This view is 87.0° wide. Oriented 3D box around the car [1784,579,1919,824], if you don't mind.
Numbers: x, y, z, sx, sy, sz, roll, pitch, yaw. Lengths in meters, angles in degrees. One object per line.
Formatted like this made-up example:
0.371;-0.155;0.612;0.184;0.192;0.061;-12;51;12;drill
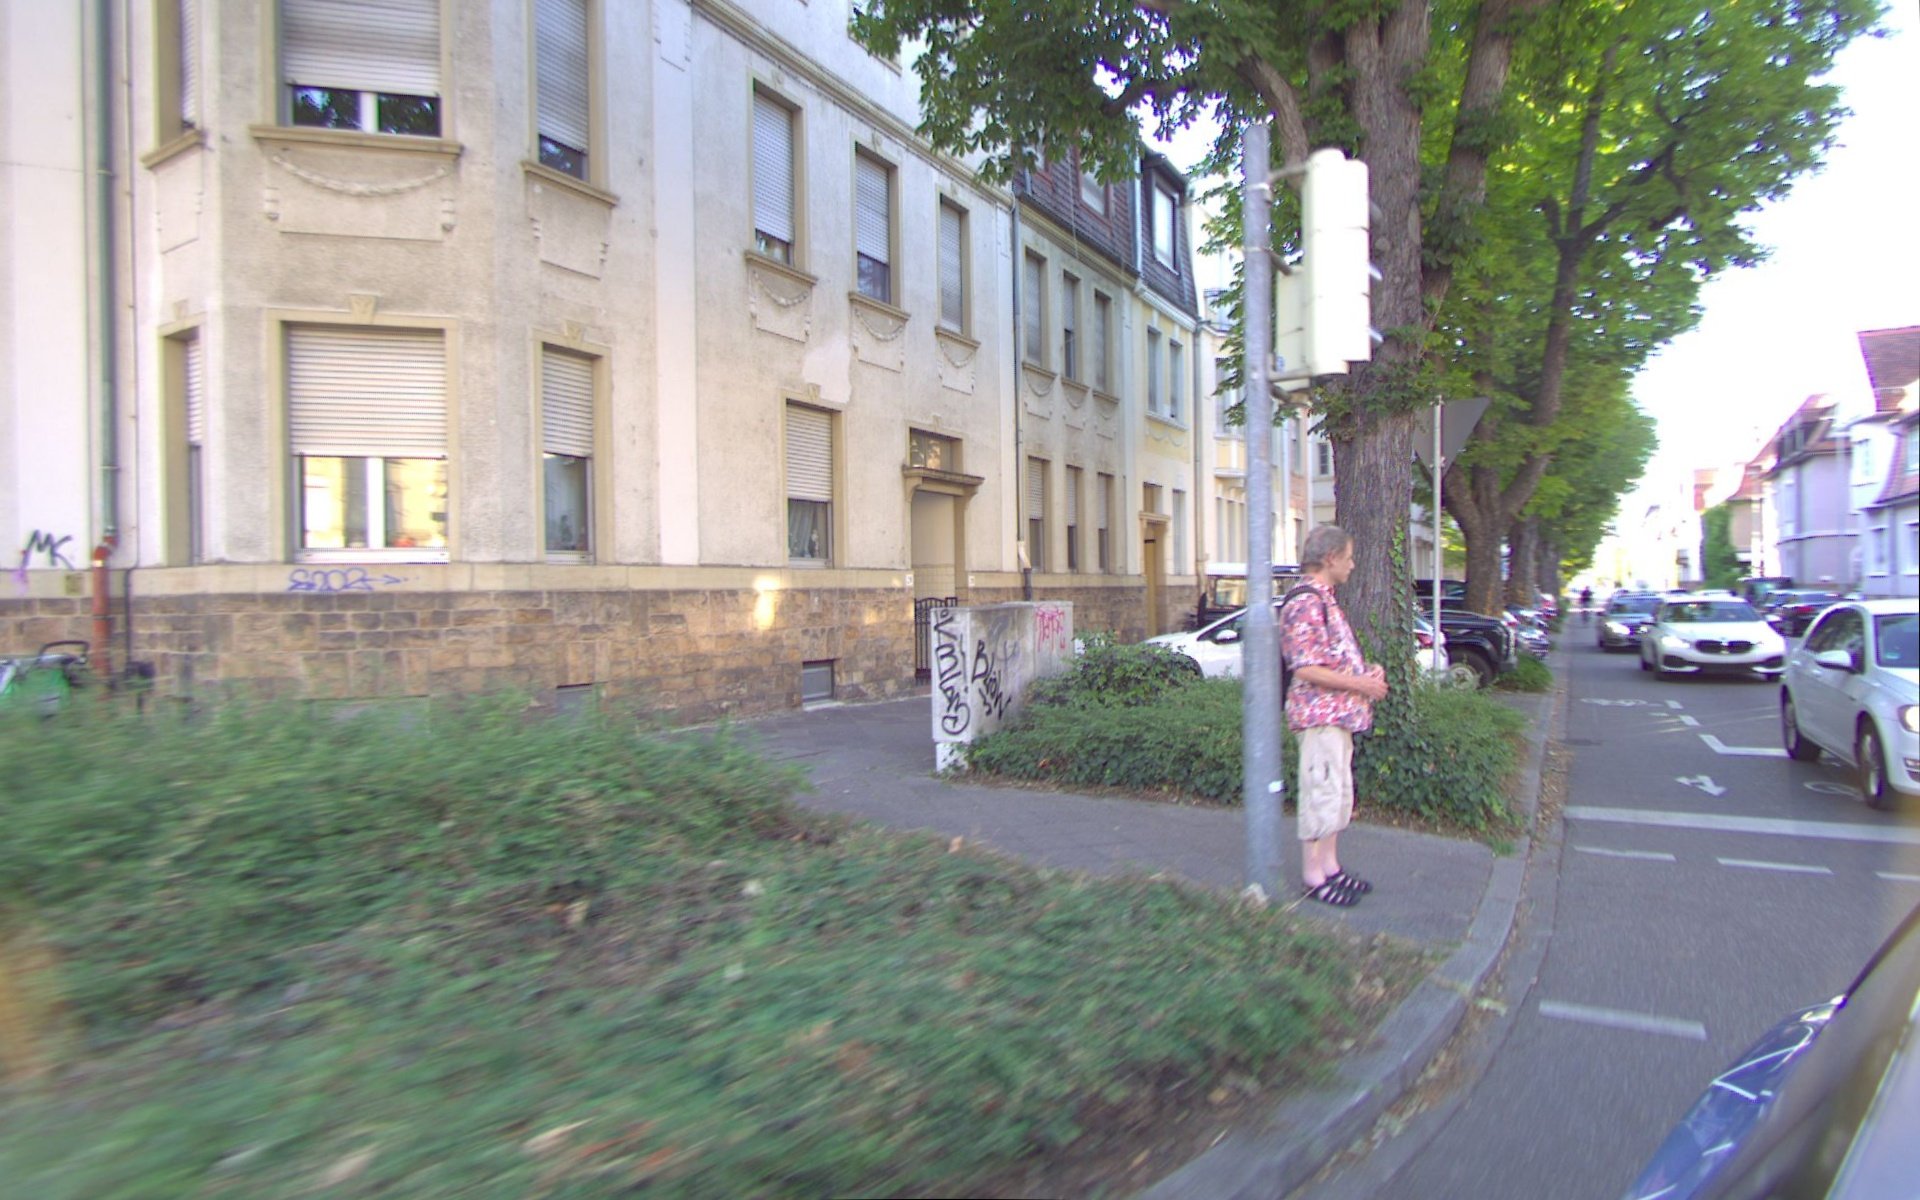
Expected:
7.735;0.587;7.557;1.829;1.469;4.066;-2;0;31;car

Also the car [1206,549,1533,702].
6.175;0.297;15.428;4.401;2.008;1.740;0;3;32;car

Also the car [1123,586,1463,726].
4.330;0.627;13.316;4.015;1.595;1.666;0;0;31;car

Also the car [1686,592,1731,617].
46.663;0.276;63.171;1.807;1.446;4.242;-2;0;31;car

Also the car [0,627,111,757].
-8.177;0.779;8.656;1.042;0.959;0.929;-2;4;-13;car

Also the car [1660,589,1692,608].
59.592;-0.126;84.252;1.807;1.446;4.242;-2;0;31;car

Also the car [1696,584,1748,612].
42.163;-0.131;56.060;1.807;1.446;4.242;-2;0;31;car

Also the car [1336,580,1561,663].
10.518;0.459;21.898;4.175;1.627;1.979;-2;0;31;car

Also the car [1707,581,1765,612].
39.351;-0.212;51.394;1.807;1.446;4.242;-2;0;31;car

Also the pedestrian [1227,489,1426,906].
1.788;0.426;4.920;0.698;1.829;0.657;-2;0;37;pedestrian

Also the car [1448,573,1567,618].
25.094;-0.179;46.487;4.672;1.897;1.979;-2;0;31;car

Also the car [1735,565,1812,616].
33.581;-0.386;41.889;1.807;1.930;4.242;-2;-1;31;car

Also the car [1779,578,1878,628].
27.792;0.086;32.511;1.680;1.472;3.956;-2;0;31;car

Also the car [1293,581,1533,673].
9.044;0.534;20.252;4.175;1.649;1.952;-2;0;31;car

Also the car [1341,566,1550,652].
12.495;0.253;26.150;4.672;2.039;1.979;-2;0;31;car

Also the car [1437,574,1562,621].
23.584;-0.116;44.341;4.672;1.897;1.979;-2;0;31;car

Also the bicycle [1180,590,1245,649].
6.009;0.439;24.029;0.757;1.301;2.176;1;2;35;bicycle

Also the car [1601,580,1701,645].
18.107;0.275;26.689;1.829;1.536;4.702;-2;0;31;car

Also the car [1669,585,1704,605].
55.986;-0.414;78.027;1.807;1.446;4.242;-2;0;31;car

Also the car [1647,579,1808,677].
13.688;0.429;18.279;1.829;1.536;3.979;-2;0;31;car

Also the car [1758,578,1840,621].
31.141;-0.046;37.665;1.680;1.472;3.956;-2;0;31;car
